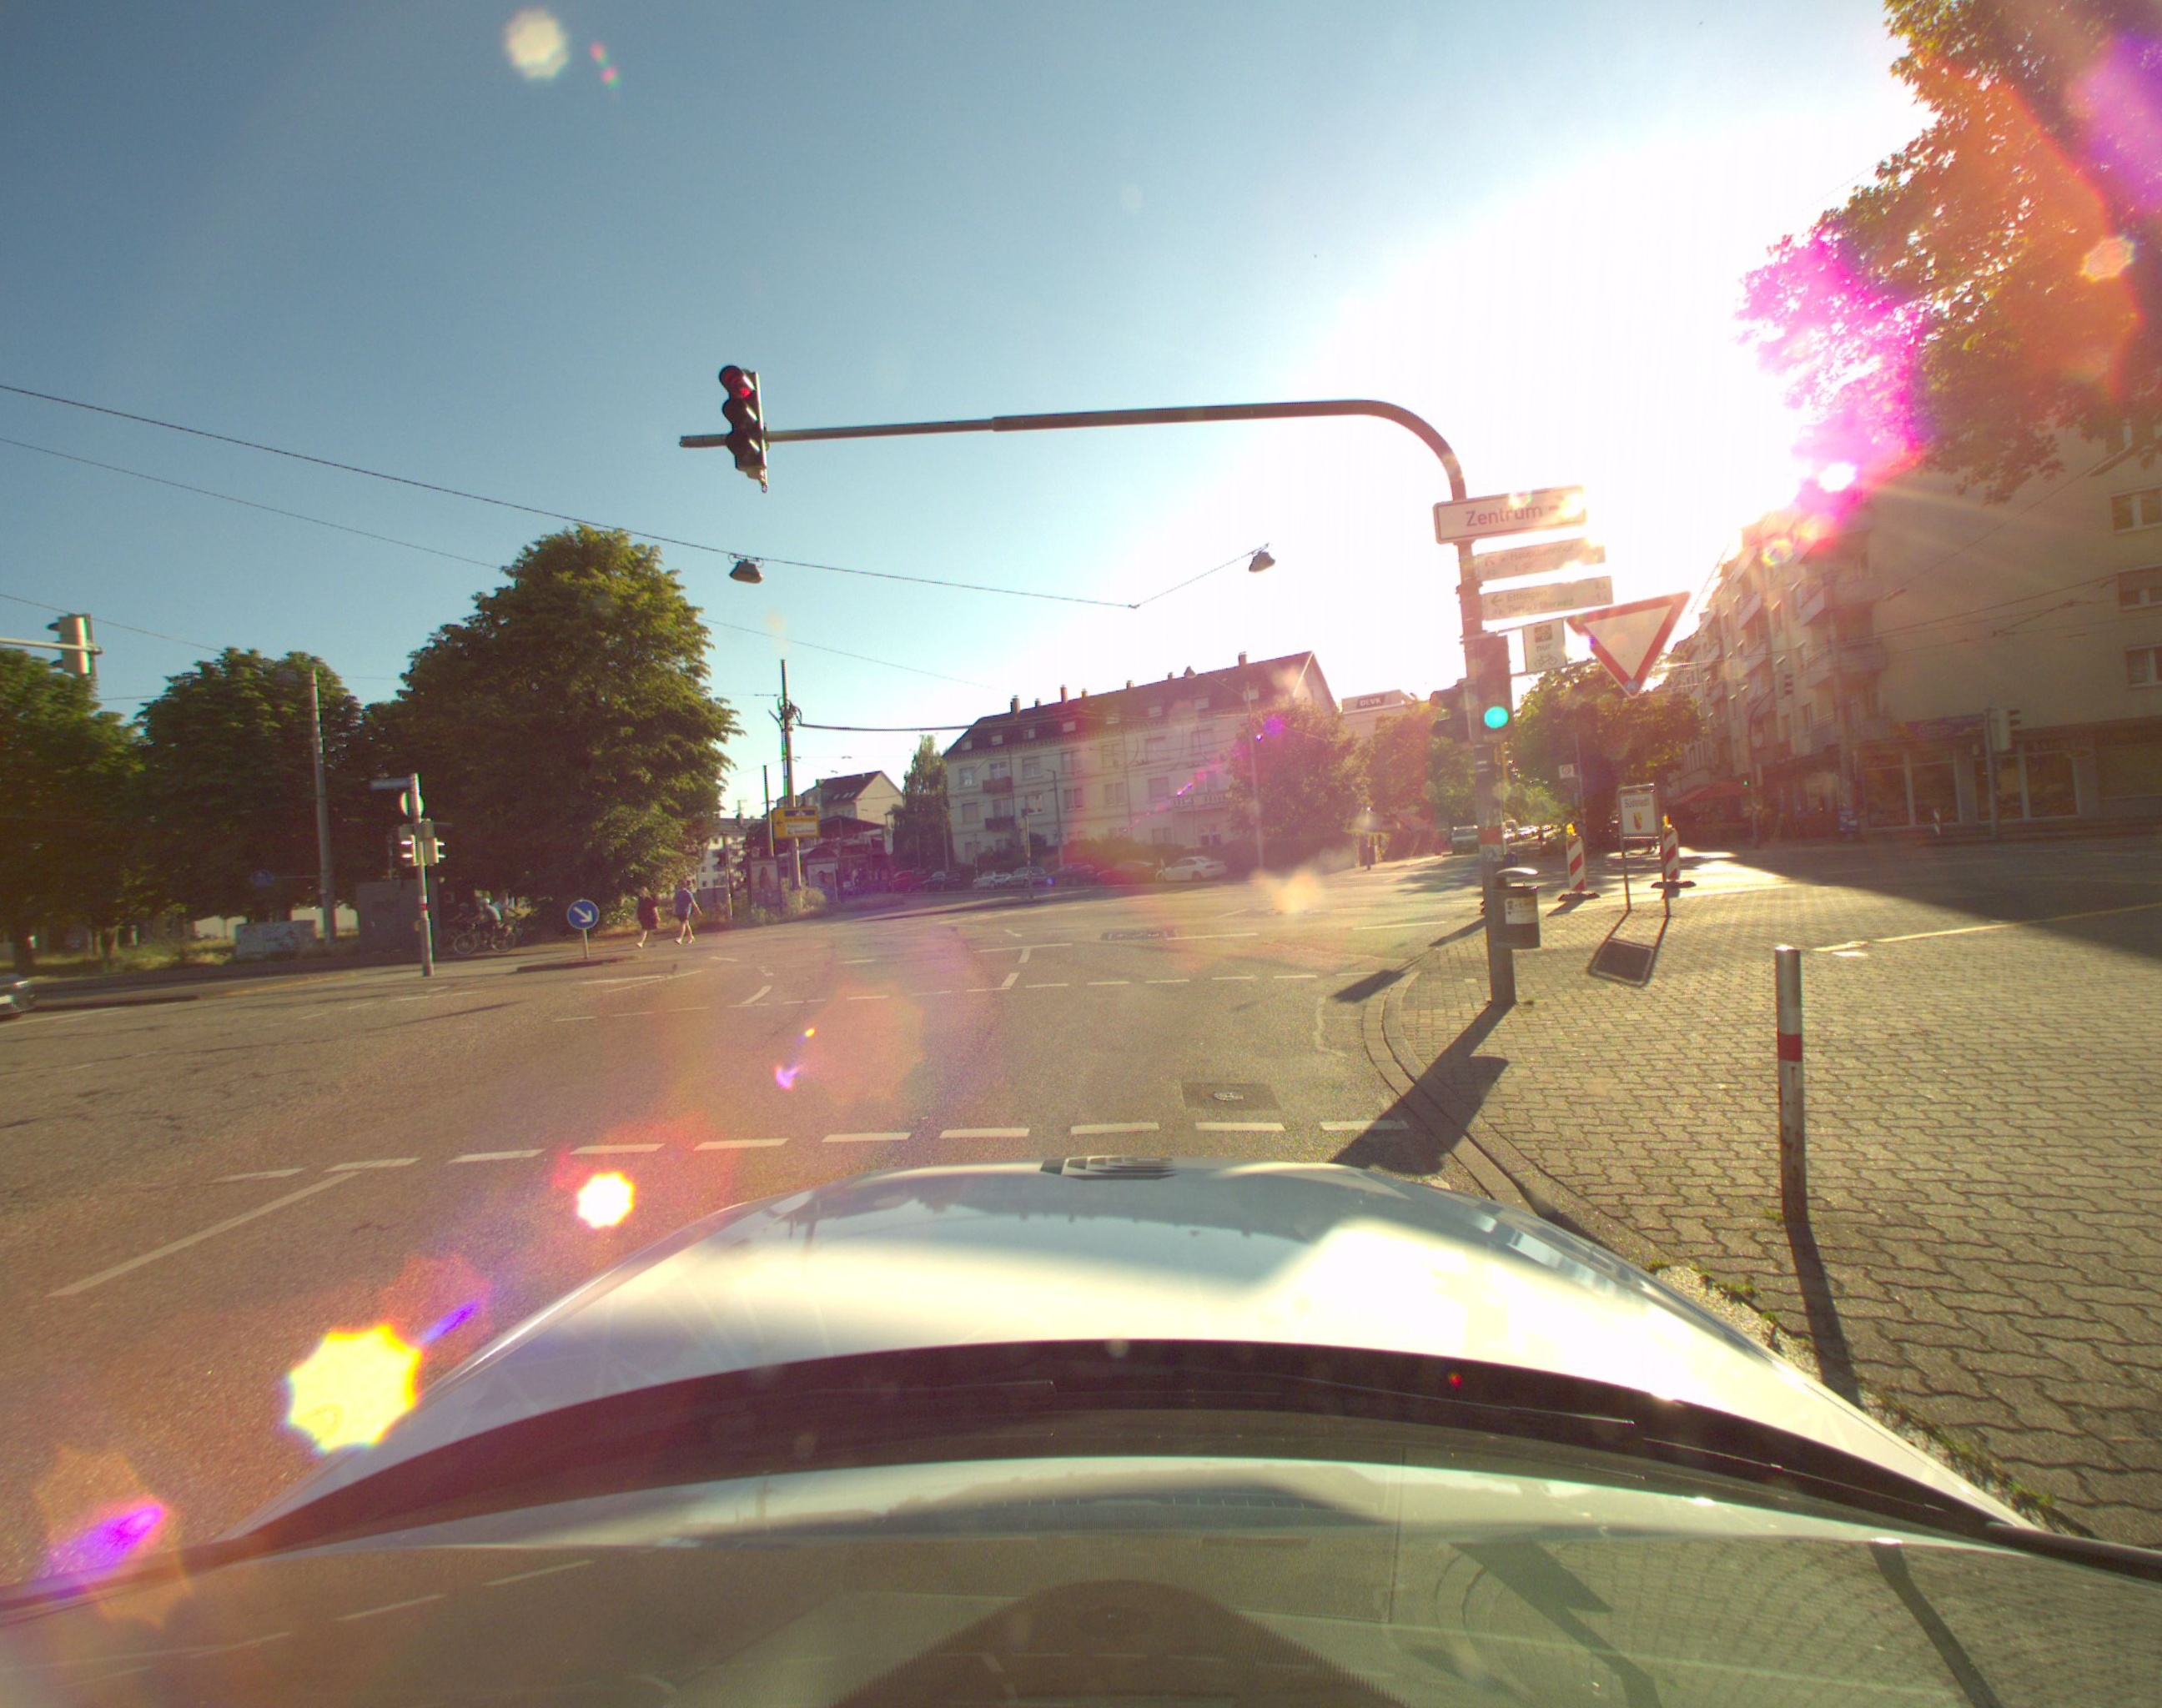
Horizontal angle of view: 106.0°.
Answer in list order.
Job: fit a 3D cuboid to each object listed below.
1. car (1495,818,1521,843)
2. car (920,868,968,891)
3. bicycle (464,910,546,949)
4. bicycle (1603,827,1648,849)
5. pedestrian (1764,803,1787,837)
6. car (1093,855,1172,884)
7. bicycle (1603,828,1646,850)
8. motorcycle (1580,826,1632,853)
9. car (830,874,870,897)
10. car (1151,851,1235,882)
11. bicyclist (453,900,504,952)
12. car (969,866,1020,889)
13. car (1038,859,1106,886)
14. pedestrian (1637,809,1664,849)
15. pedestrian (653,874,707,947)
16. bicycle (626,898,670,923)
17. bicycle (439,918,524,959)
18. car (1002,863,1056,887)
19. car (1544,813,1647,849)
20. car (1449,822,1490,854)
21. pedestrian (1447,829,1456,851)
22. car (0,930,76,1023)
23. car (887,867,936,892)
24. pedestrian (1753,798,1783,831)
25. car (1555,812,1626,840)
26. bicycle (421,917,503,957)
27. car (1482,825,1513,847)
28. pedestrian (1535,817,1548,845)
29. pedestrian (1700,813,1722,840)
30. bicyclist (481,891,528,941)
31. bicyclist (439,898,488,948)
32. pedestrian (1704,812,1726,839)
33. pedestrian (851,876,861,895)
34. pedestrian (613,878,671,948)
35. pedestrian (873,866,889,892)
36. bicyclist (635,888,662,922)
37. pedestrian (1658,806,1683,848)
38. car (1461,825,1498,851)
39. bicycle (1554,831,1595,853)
[{"bbox_3d":[47.952,-2.618,91.300,2.332,2.514,5.342,-5,-1,28],"label":"car"},{"bbox_3d":[-11.404,2.137,67.589,1.855,1.667,4.319,-7,1,-39],"label":"car"},{"bbox_3d":[-20.220,2.638,28.645,2.195,1.142,0.698,-4,-1,-10],"label":"bicycle"},{"bbox_3d":[26.468,-0.783,39.615,1.707,0.932,0.565,-5,-1,31],"label":"bicycle"},{"bbox_3d":[33.909,-1.671,39.750,0.612,1.591,0.480,-4,-1,15],"label":"pedestrian"},{"bbox_3d":[3.124,0.989,50.155,1.999,1.376,4.647,-7,1,-44],"label":"car"},{"bbox_3d":[26.867,-0.736,40.279,1.707,0.932,0.565,-5,-1,31],"label":"bicycle"},{"bbox_3d":[24.966,-0.683,38.761,1.933,1.109,0.842,-5,-1,26],"label":"motorcycle"},{"bbox_3d":[-23.840,3.273,83.908,2.067,1.961,5.091,-7,1,-39],"label":"car"},{"bbox_3d":[6.270,0.716,46.084,1.941,1.376,4.443,-7,1,-40],"label":"car"},{"bbox_3d":[-19.220,2.277,26.015,1.035,1.532,0.695,-4,-1,-13],"label":"bicyclist"},{"bbox_3d":[-6.586,1.786,61.636,1.855,1.447,3.912,-7,1,-39],"label":"car"},{"bbox_3d":[-0.669,1.248,54.756,1.998,1.447,4.650,-7,1,-39],"label":"car"},{"bbox_3d":[25.674,-1.132,36.711,0.799,1.750,0.710,-4,-1,-40],"label":"pedestrian"},{"bbox_3d":[-11.352,1.573,23.095,0.910,1.925,1.066,-4,-1,-3],"label":"pedestrian"},{"bbox_3d":[-22.328,2.900,42.042,0.656,1.069,2.030,-4,-1,21],"label":"bicycle"},{"bbox_3d":[-19.135,2.695,26.022,2.015,1.069,0.660,-4,-1,-13],"label":"bicycle"},{"bbox_3d":[-3.743,1.512,58.075,1.998,1.447,3.676,-7,1,-39],"label":"car"},{"bbox_3d":[34.253,-1.496,54.503,5.567,1.924,2.377,-5,-3,28],"label":"car"},{"bbox_3d":[28.388,-1.180,59.402,2.332,2.013,5.342,-5,-1,28],"label":"car"},{"bbox_3d":[30.560,-1.158,67.206,0.573,1.730,0.612,-4,-1,26],"label":"pedestrian"},{"bbox_3d":[-21.399,2.384,14.593,4.415,1.567,2.057,-4,0,5],"label":"car"},{"bbox_3d":[-15.200,2.300,72.723,2.067,1.961,5.091,-7,1,-39],"label":"car"},{"bbox_3d":[34.129,-1.967,40.458,0.804,1.544,0.919,-5,-1,25],"label":"pedestrian"},{"bbox_3d":[44.684,-2.448,71.574,5.042,1.924,2.377,-5,-3,28],"label":"car"},{"bbox_3d":[-20.508,2.733,27.026,2.016,1.069,0.660,-4,-1,-14],"label":"bicycle"},{"bbox_3d":[39.720,-1.725,77.626,2.332,1.795,5.342,-5,-1,28],"label":"car"},{"bbox_3d":[31.361,-1.543,55.449,0.655,1.839,0.687,-4,-1,30],"label":"pedestrian"},{"bbox_3d":[34.054,-1.487,44.019,0.803,1.362,0.920,-5,-1,36],"label":"pedestrian"},{"bbox_3d":[-20.272,2.168,28.655,1.038,1.629,0.711,-4,-1,-10],"label":"bicyclist"},{"bbox_3d":[-20.500,2.290,27.063,1.035,1.532,0.657,-4,-1,-14],"label":"bicyclist"},{"bbox_3d":[33.374,-1.492,42.865,0.803,1.362,0.920,-5,-1,36],"label":"pedestrian"},{"bbox_3d":[-18.518,2.612,66.979,0.569,1.500,0.672,-4,-1,-27],"label":"pedestrian"},{"bbox_3d":[-11.852,1.567,22.017,0.910,1.747,1.066,-4,-1,-3],"label":"pedestrian"},{"bbox_3d":[-16.232,2.014,65.987,0.928,2.013,0.760,-4,-1,-34],"label":"pedestrian"},{"bbox_3d":[-22.336,2.610,42.081,0.662,1.652,0.891,-4,-1,22],"label":"bicyclist"},{"bbox_3d":[25.876,-1.188,35.724,0.684,1.750,0.800,-5,-1,42],"label":"pedestrian"},{"bbox_3d":[31.693,-1.278,64.707,2.332,1.795,5.342,-5,-1,28],"label":"car"},{"bbox_3d":[24.918,-0.603,41.155,1.707,0.932,0.676,-5,-1,31],"label":"bicycle"}]
